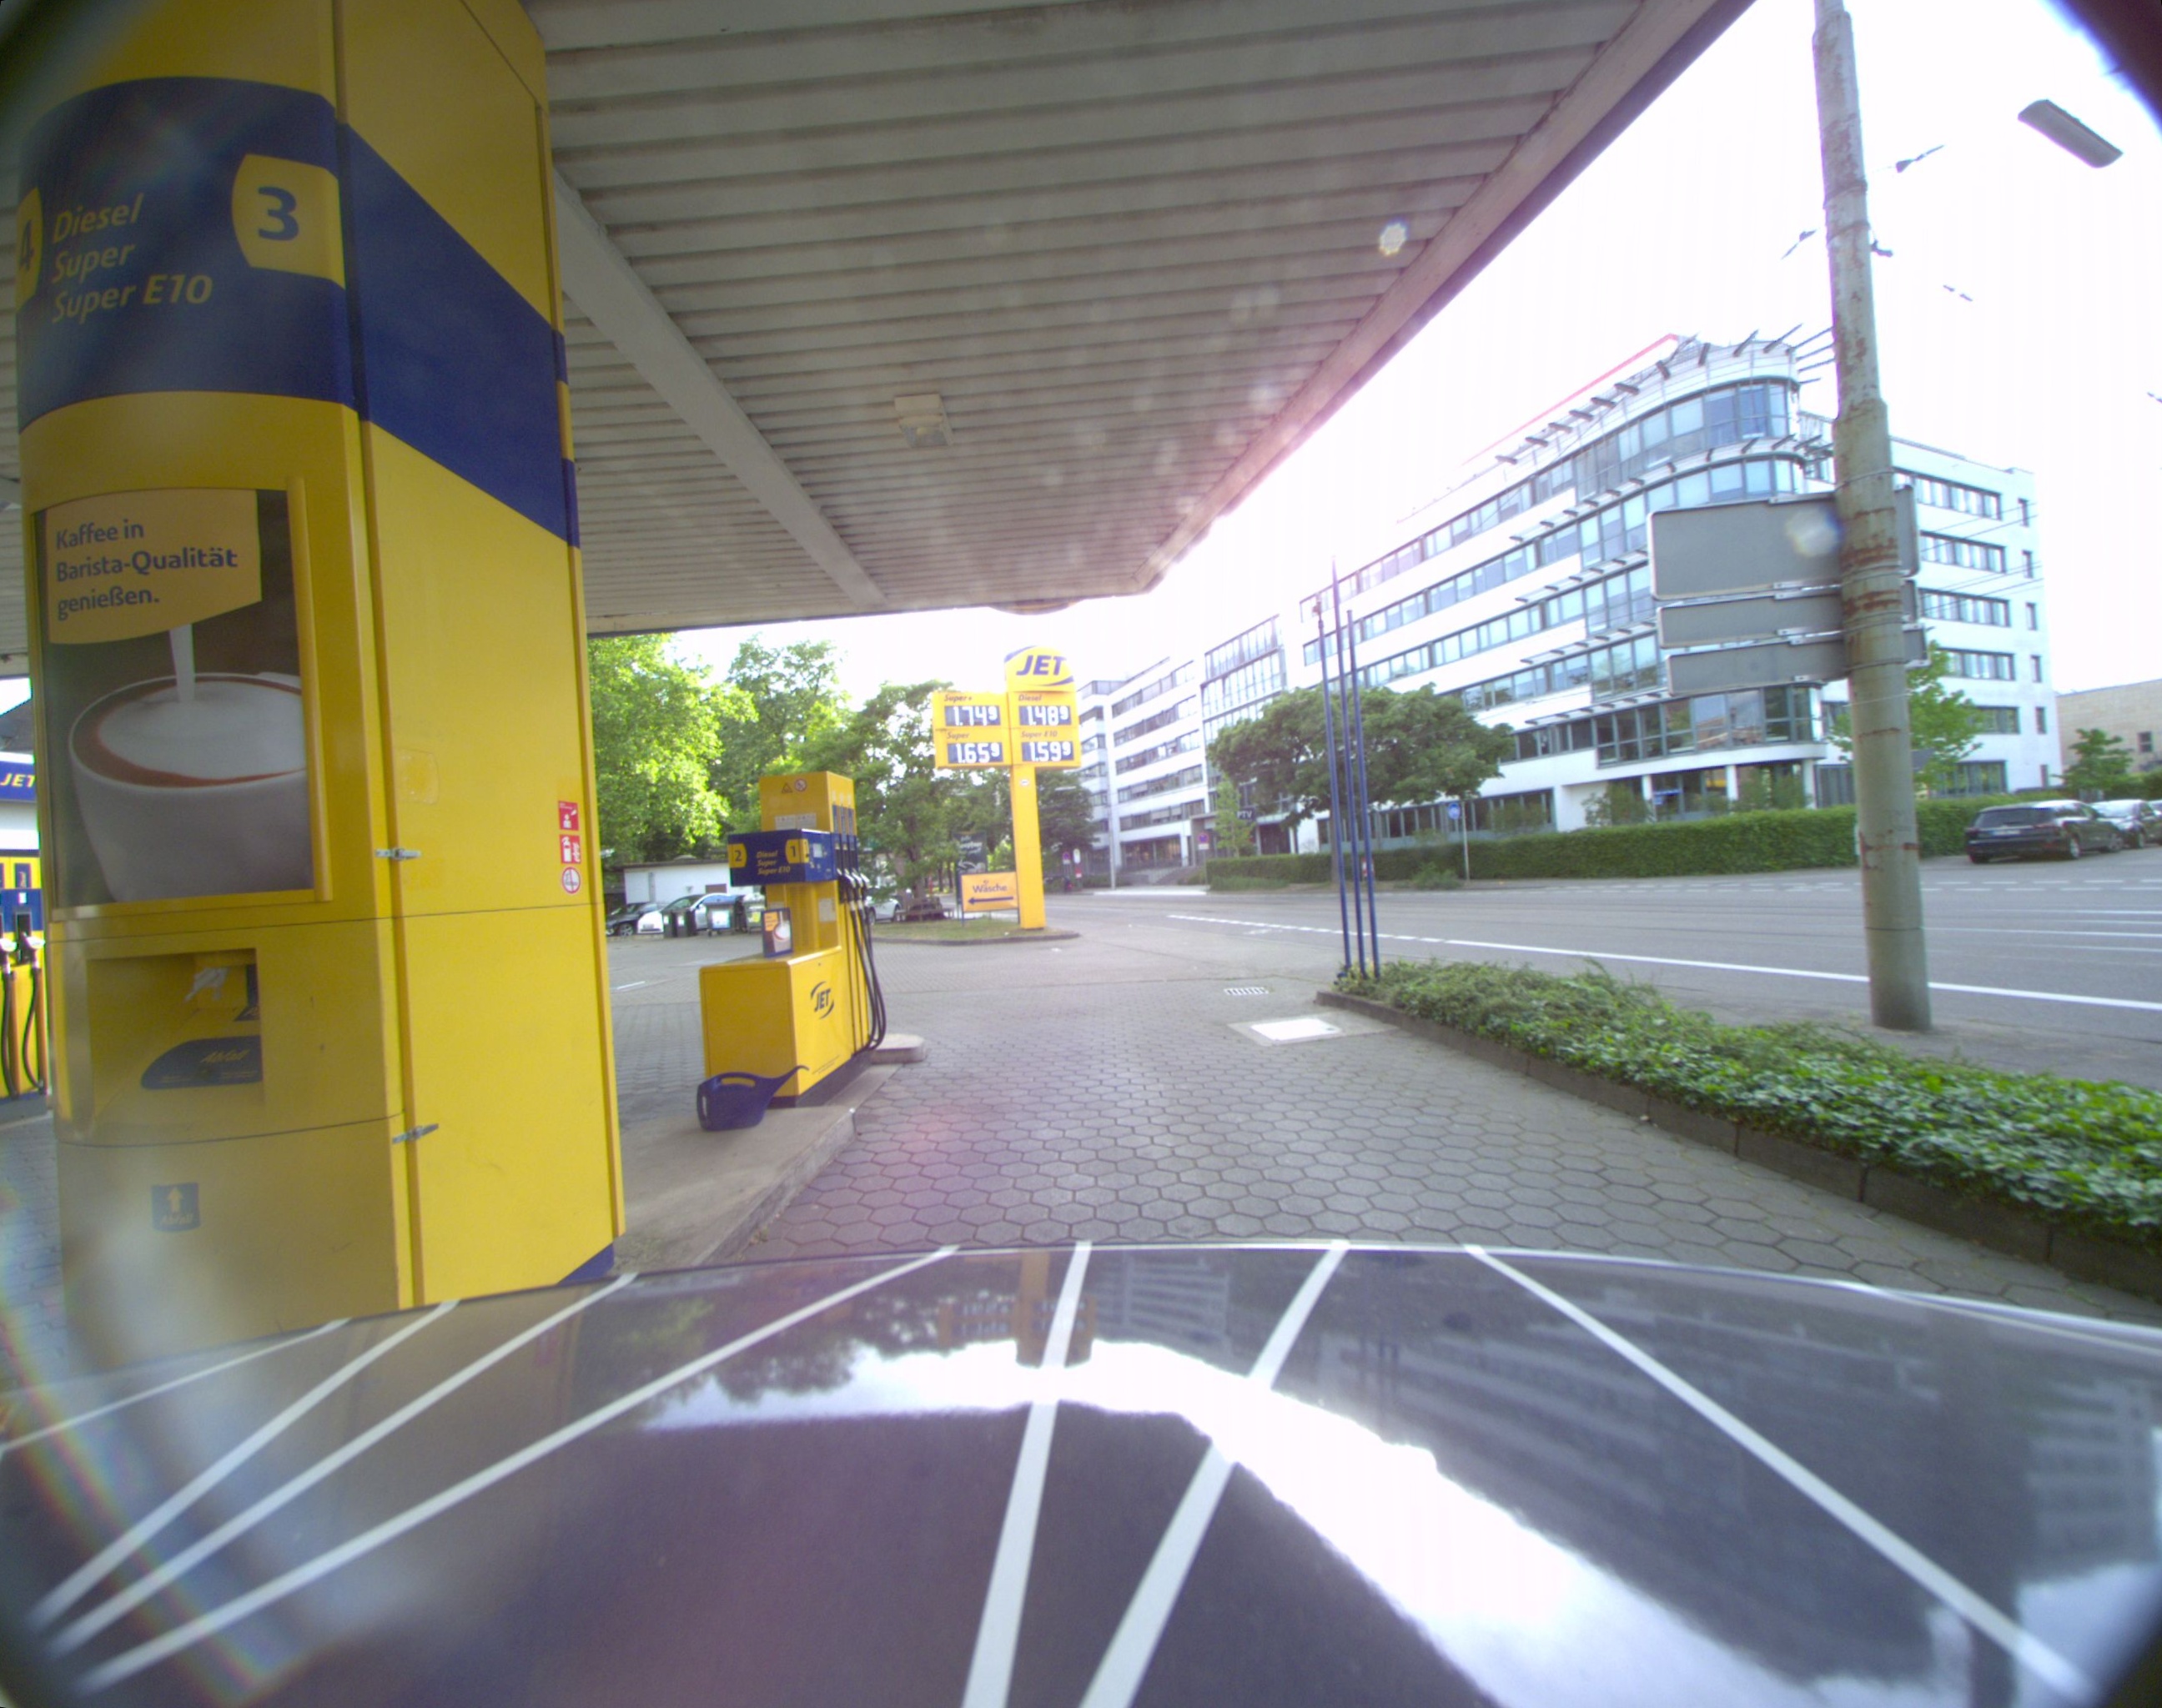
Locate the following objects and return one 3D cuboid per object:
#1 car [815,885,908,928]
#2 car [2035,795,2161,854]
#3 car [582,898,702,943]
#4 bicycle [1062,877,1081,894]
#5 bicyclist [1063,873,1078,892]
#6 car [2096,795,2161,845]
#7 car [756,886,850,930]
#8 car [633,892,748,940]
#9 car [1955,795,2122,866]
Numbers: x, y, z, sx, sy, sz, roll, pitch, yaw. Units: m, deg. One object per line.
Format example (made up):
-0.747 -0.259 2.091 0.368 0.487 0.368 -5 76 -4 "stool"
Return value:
-8.658 2.041 30.378 1.823 1.449 4.200 -4 -2 10 "car"
32.575 -0.961 24.068 4.201 1.568 1.820 -4 -1 -24 "car"
-17.535 2.624 30.608 1.823 1.426 4.200 -4 -2 10 "car"
-0.770 2.444 59.824 0.792 1.232 1.879 -2 0 -23 "bicycle"
-0.832 2.216 59.938 0.792 1.443 1.174 -3 1 -23 "bicyclist"
37.104 -1.255 26.016 4.201 1.568 1.820 -4 -1 -24 "car"
-11.748 2.258 32.465 1.823 1.575 4.200 -4 -2 10 "car"
-15.391 2.405 30.253 1.823 1.575 4.200 -4 -2 10 "car"
27.417 -0.671 21.758 4.397 1.678 1.820 -4 -1 -24 "car"
